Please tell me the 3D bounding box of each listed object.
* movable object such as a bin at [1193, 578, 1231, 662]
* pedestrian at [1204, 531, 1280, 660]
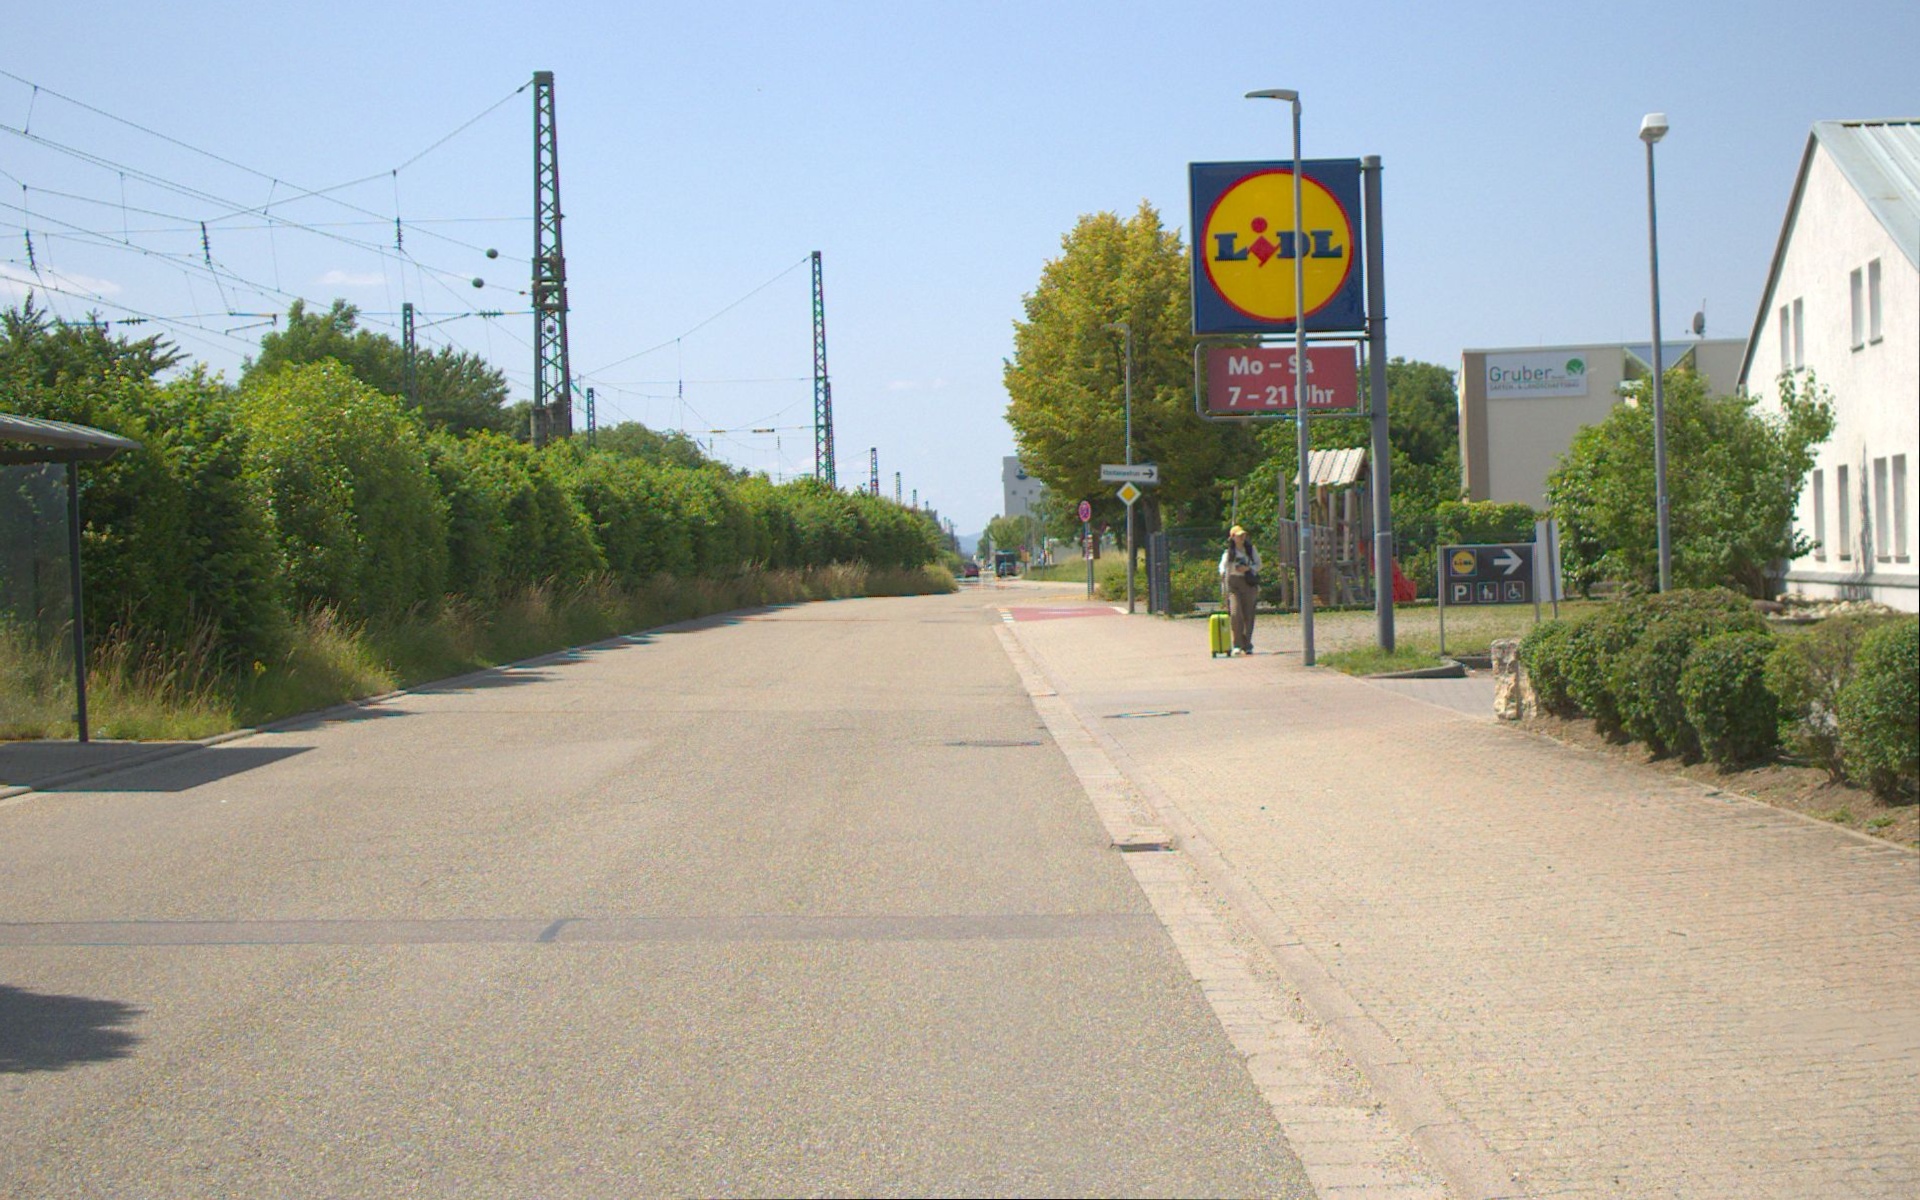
[{"bbox_3d":[3.157,0.245,43.115,0.374,1.026,0.499,-2,1,-4],"label":"movable object such as a bin"},{"bbox_3d":[3.563,-0.070,43.535,0.761,1.596,1.210,-1,1,-3],"label":"pedestrian"}]
